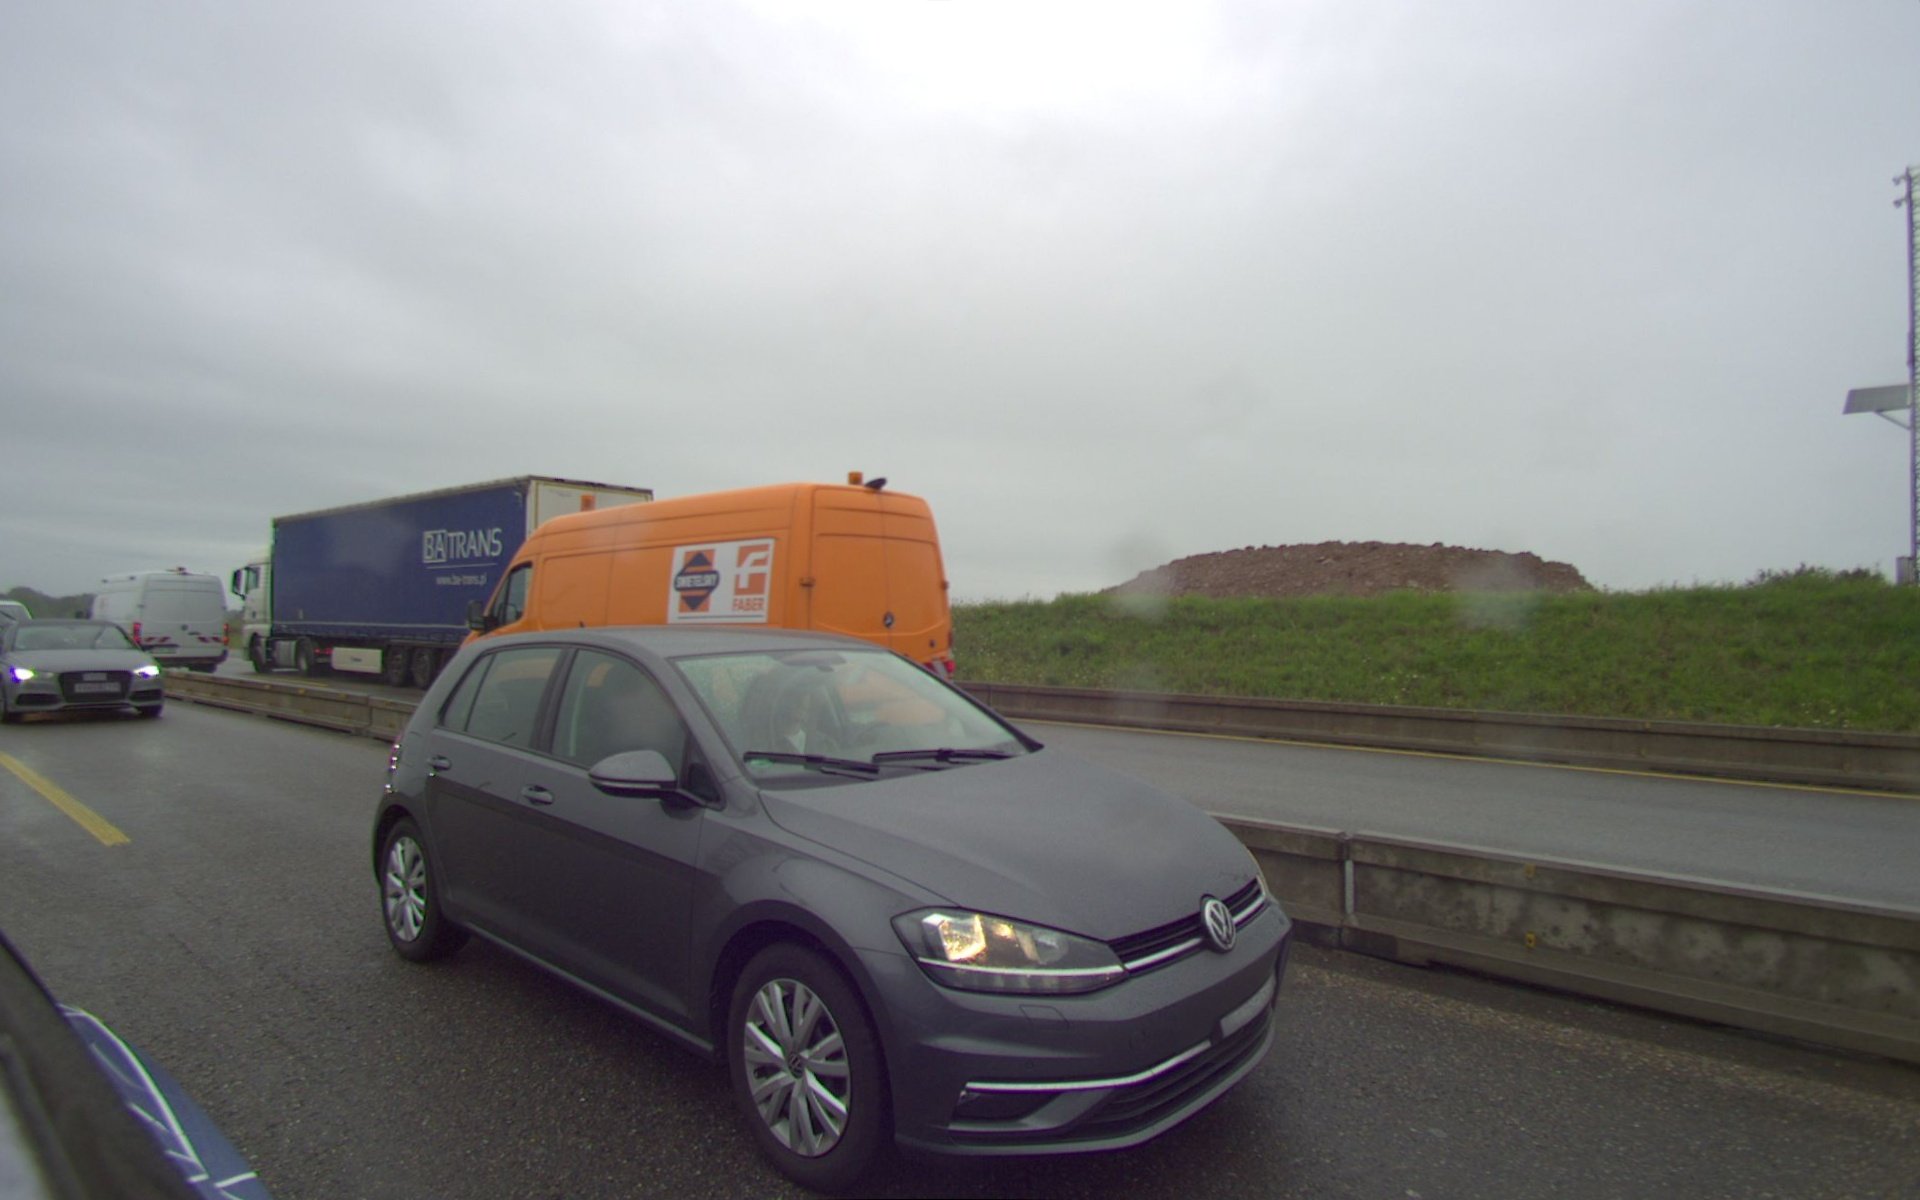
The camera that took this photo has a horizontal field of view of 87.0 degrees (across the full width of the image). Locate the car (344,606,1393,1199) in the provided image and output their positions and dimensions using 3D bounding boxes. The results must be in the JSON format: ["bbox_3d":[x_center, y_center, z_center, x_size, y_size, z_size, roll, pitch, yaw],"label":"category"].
[{"bbox_3d":[-0.718,0.752,3.864,4.078,1.433,1.632,0,-1,41],"label":"car"}]

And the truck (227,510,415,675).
[{"bbox_3d":[-17.649,-0.112,27.826,5.815,4.065,2.760,-2,-1,40],"label":"truck"}]

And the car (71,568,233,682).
[{"bbox_3d":[-21.476,0.674,26.750,6.877,2.674,1.986,-2,-1,40],"label":"car"}]

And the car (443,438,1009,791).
[{"bbox_3d":[-2.876,0.171,10.550,7.017,2.597,2.032,-1,-1,41],"label":"car"}]

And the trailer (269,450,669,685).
[{"bbox_3d":[-11.785,-0.388,22.917,13.728,4.065,2.751,-2,-1,40],"label":"trailer"}]

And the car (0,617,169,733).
[{"bbox_3d":[-13.294,0.992,14.945,4.267,1.407,1.776,0,0,41],"label":"car"}]

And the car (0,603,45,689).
[{"bbox_3d":[-23.063,1.006,23.469,5.177,1.873,2.133,0,0,41],"label":"car"}]
